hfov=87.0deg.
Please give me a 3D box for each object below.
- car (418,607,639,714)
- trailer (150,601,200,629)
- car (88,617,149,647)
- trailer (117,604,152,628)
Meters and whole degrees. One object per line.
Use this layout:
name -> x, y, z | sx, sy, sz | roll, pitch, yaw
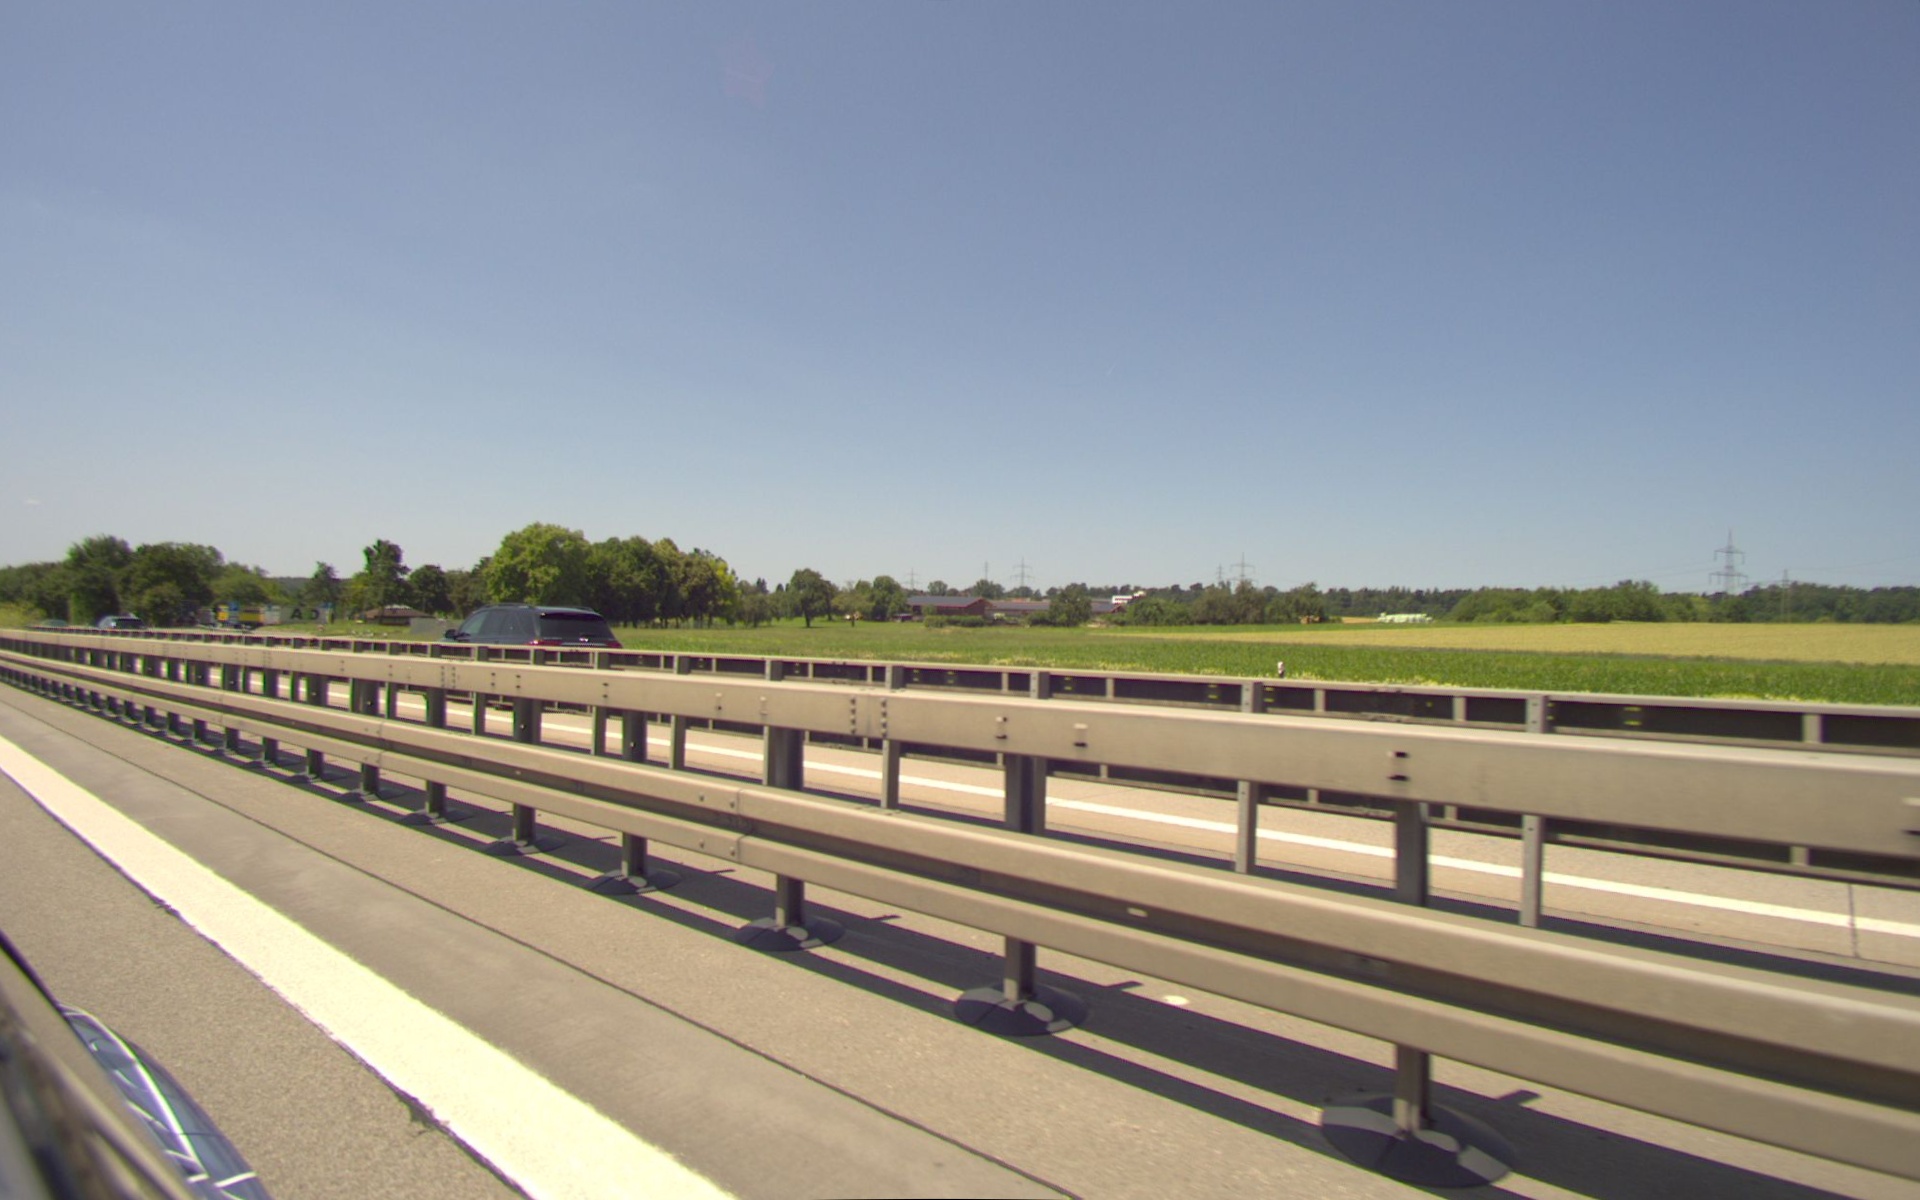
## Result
car -> -7.673, 0.986, 17.803 | 4.426, 1.653, 1.791 | 0, -3, 41
trailer -> -111.425, 2.024, 143.613 | 14.402, 3.807, 2.740 | 0, 0, 41
car -> -43.586, 1.665, 52.400 | 3.998, 1.455, 1.800 | -1, -3, 41
trailer -> -127.860, 2.425, 156.687 | 8.703, 3.689, 2.520 | 0, 0, 39
